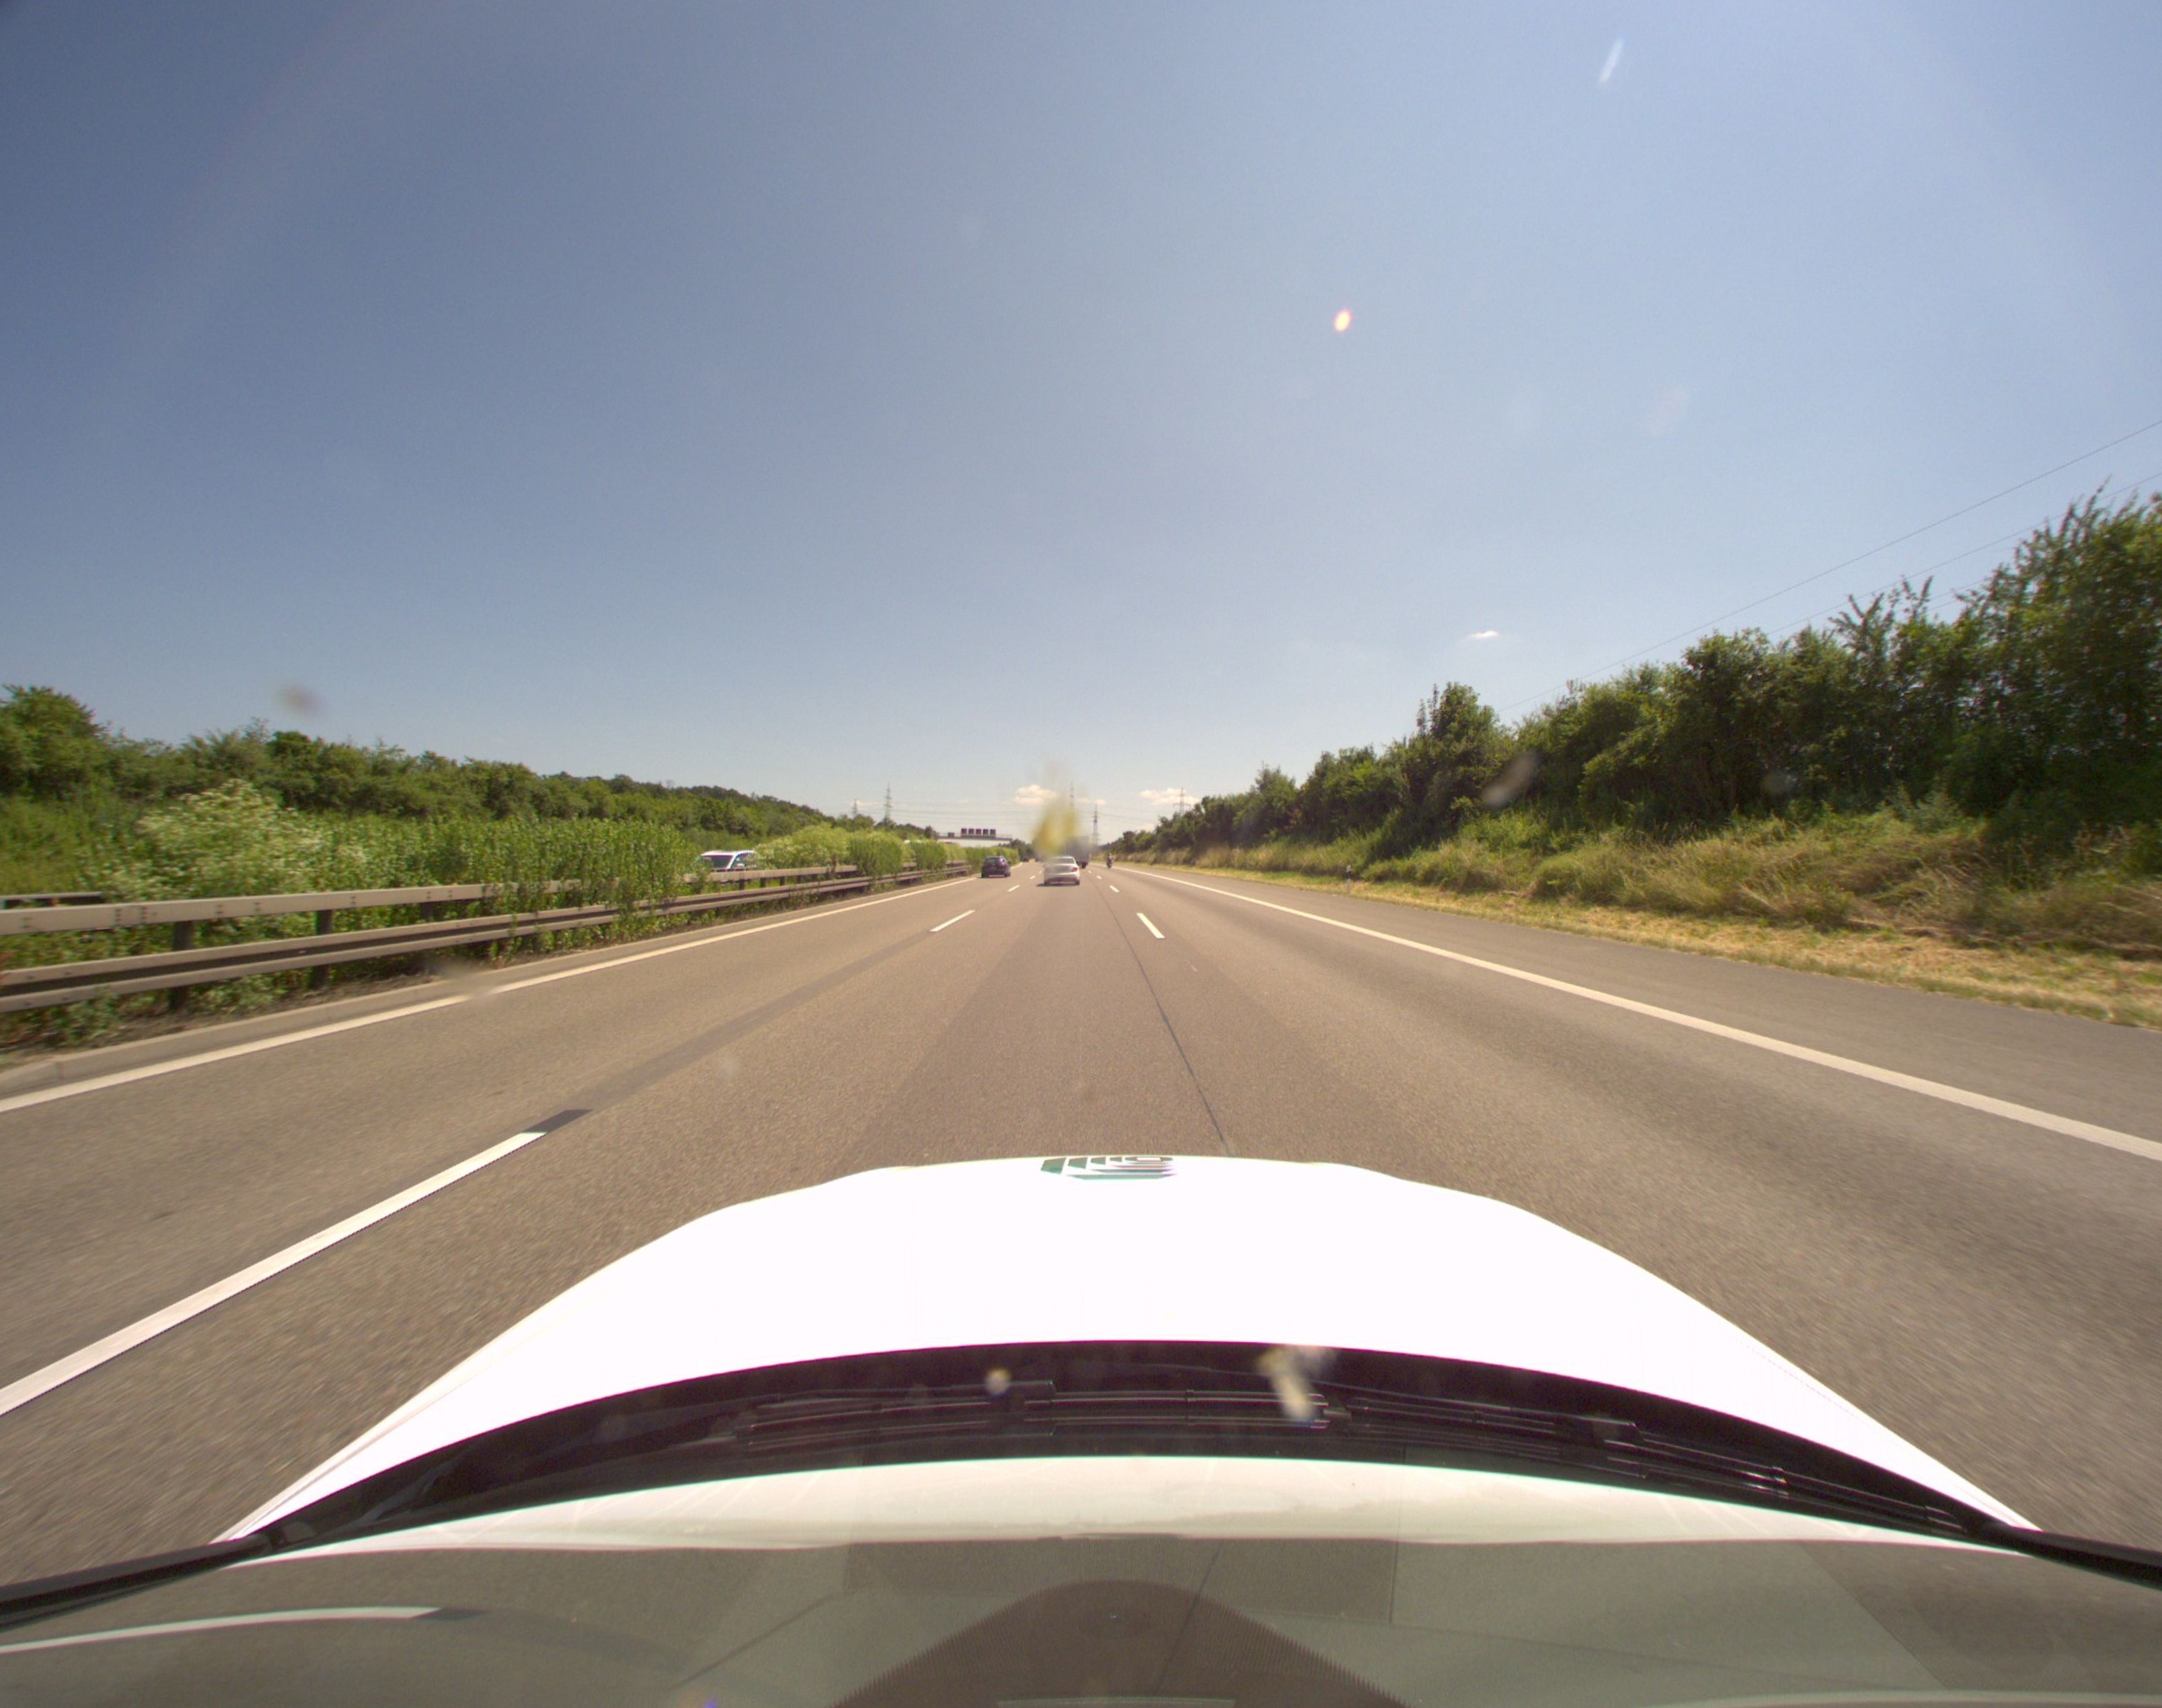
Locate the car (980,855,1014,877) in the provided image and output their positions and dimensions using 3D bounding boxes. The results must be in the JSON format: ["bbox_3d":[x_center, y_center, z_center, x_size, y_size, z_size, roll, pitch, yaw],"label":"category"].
[{"bbox_3d":[-5.781,0.807,56.396,1.749,1.429,4.003,-1,0,2],"label":"car"}]

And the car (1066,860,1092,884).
[{"bbox_3d":[-0.197,1.566,71.869,1.990,2.013,3.994,-1,0,-4],"label":"car"}]

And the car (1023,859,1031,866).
[{"bbox_3d":[-14.901,2.296,224.171,1.990,1.860,3.994,-1,0,-4],"label":"car"}]

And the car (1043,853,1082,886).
[{"bbox_3d":[-0.910,0.742,40.801,1.814,1.540,3.913,-1,0,-1],"label":"car"}]

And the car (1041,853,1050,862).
[{"bbox_3d":[-7.775,0.659,179.129,1.897,1.925,3.997,-1,0,-2],"label":"car"}]

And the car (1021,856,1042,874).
[{"bbox_3d":[-4.638,1.004,76.706,1.833,1.540,3.913,-1,0,-1],"label":"car"}]

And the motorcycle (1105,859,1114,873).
[{"bbox_3d":[3.218,1.355,91.218,0.808,1.607,1.779,0,-1,-5],"label":"motorcycle"}]

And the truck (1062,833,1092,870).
[{"bbox_3d":[-0.524,-0.244,91.446,3.212,3.924,9.055,0,-1,-1],"label":"truck"}]

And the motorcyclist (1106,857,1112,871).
[{"bbox_3d":[3.172,1.099,91.069,0.571,1.479,0.699,-1,0,-6],"label":"motorcyclist"}]

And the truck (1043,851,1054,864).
[{"bbox_3d":[-10.251,1.172,256.088,3.476,3.912,7.282,0,-1,-3],"label":"truck"}]
